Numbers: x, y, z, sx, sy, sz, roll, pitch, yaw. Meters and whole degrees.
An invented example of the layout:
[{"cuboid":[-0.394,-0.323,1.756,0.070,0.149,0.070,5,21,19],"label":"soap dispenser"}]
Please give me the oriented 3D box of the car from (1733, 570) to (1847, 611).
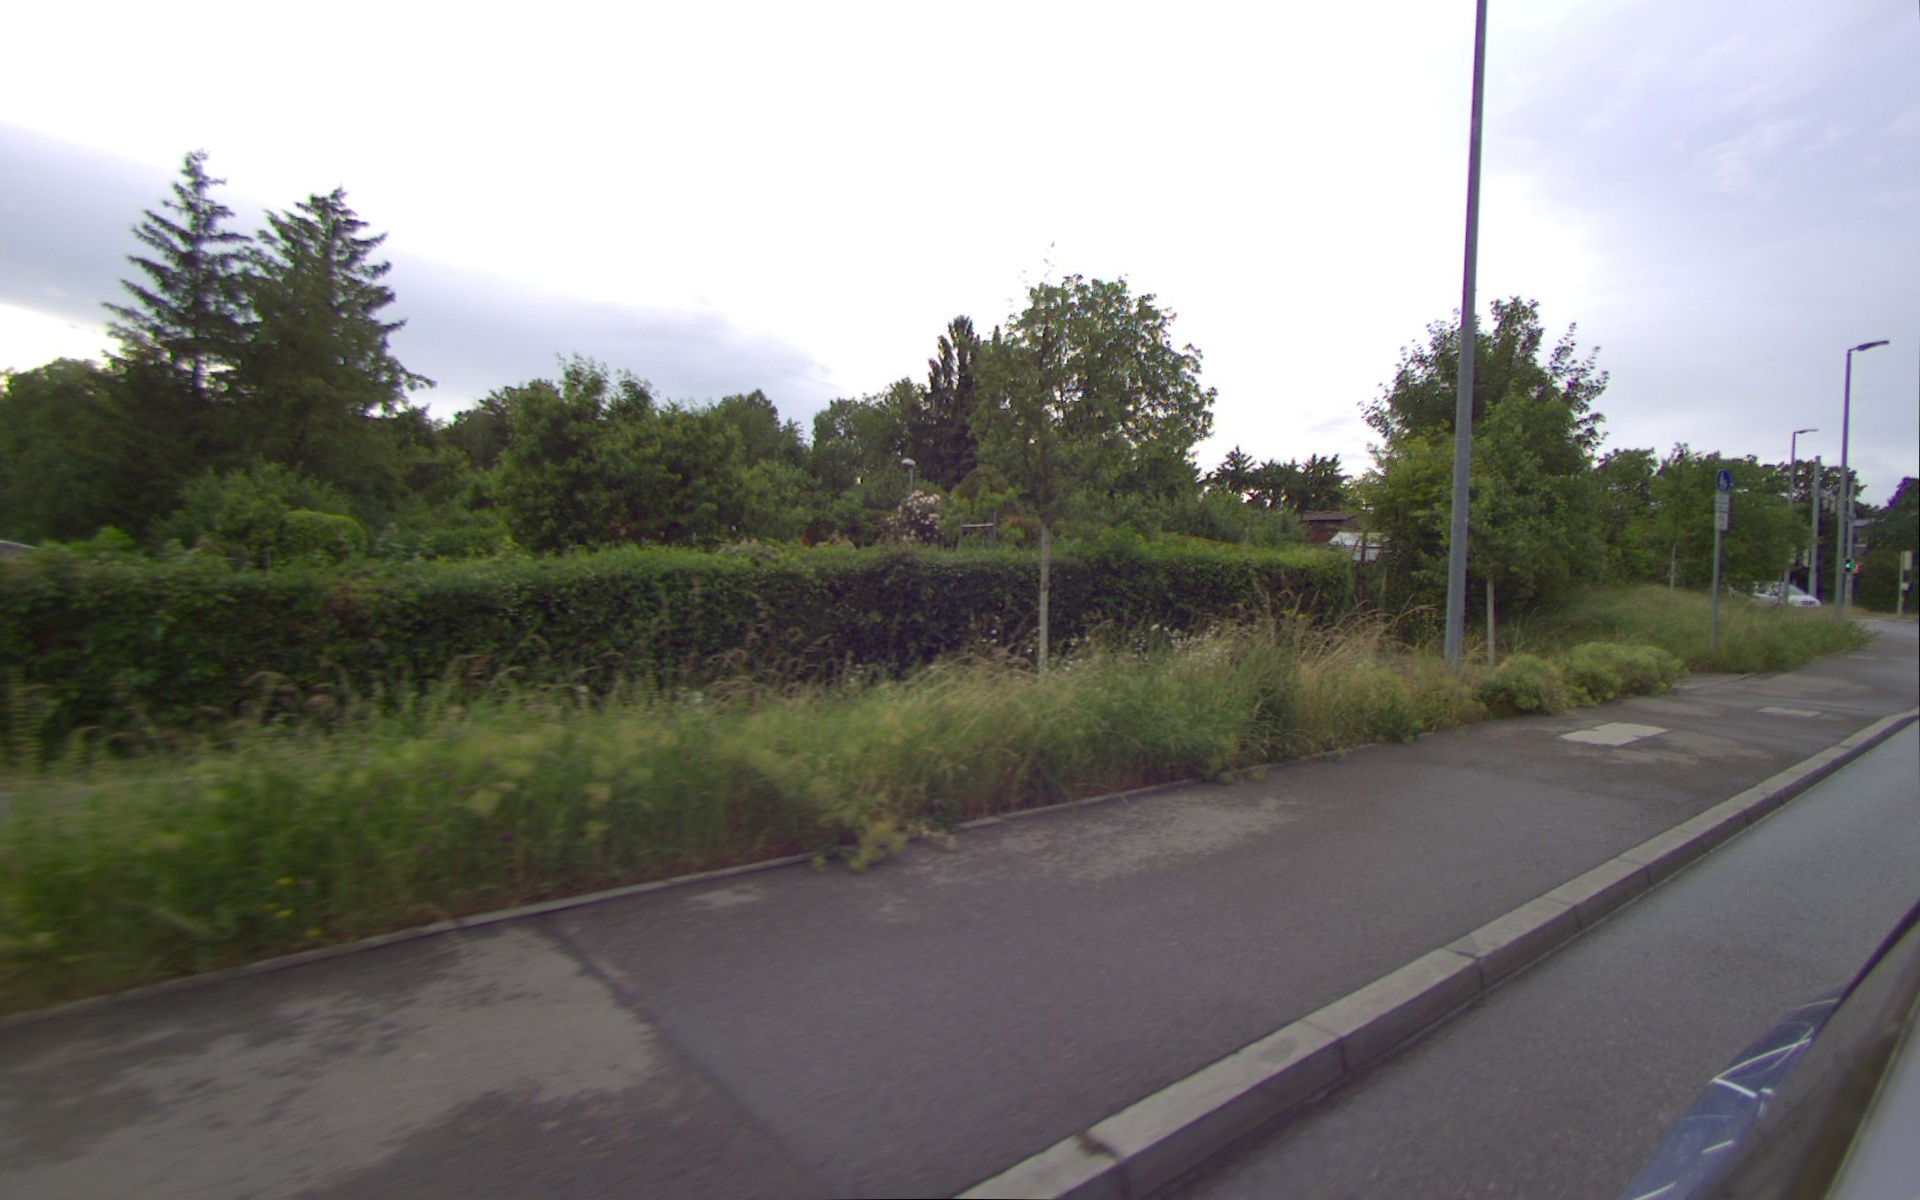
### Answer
[{"cuboid":[39.991,-0.506,48.892,1.786,1.623,4.072,-2,5,-7],"label":"car"}]
